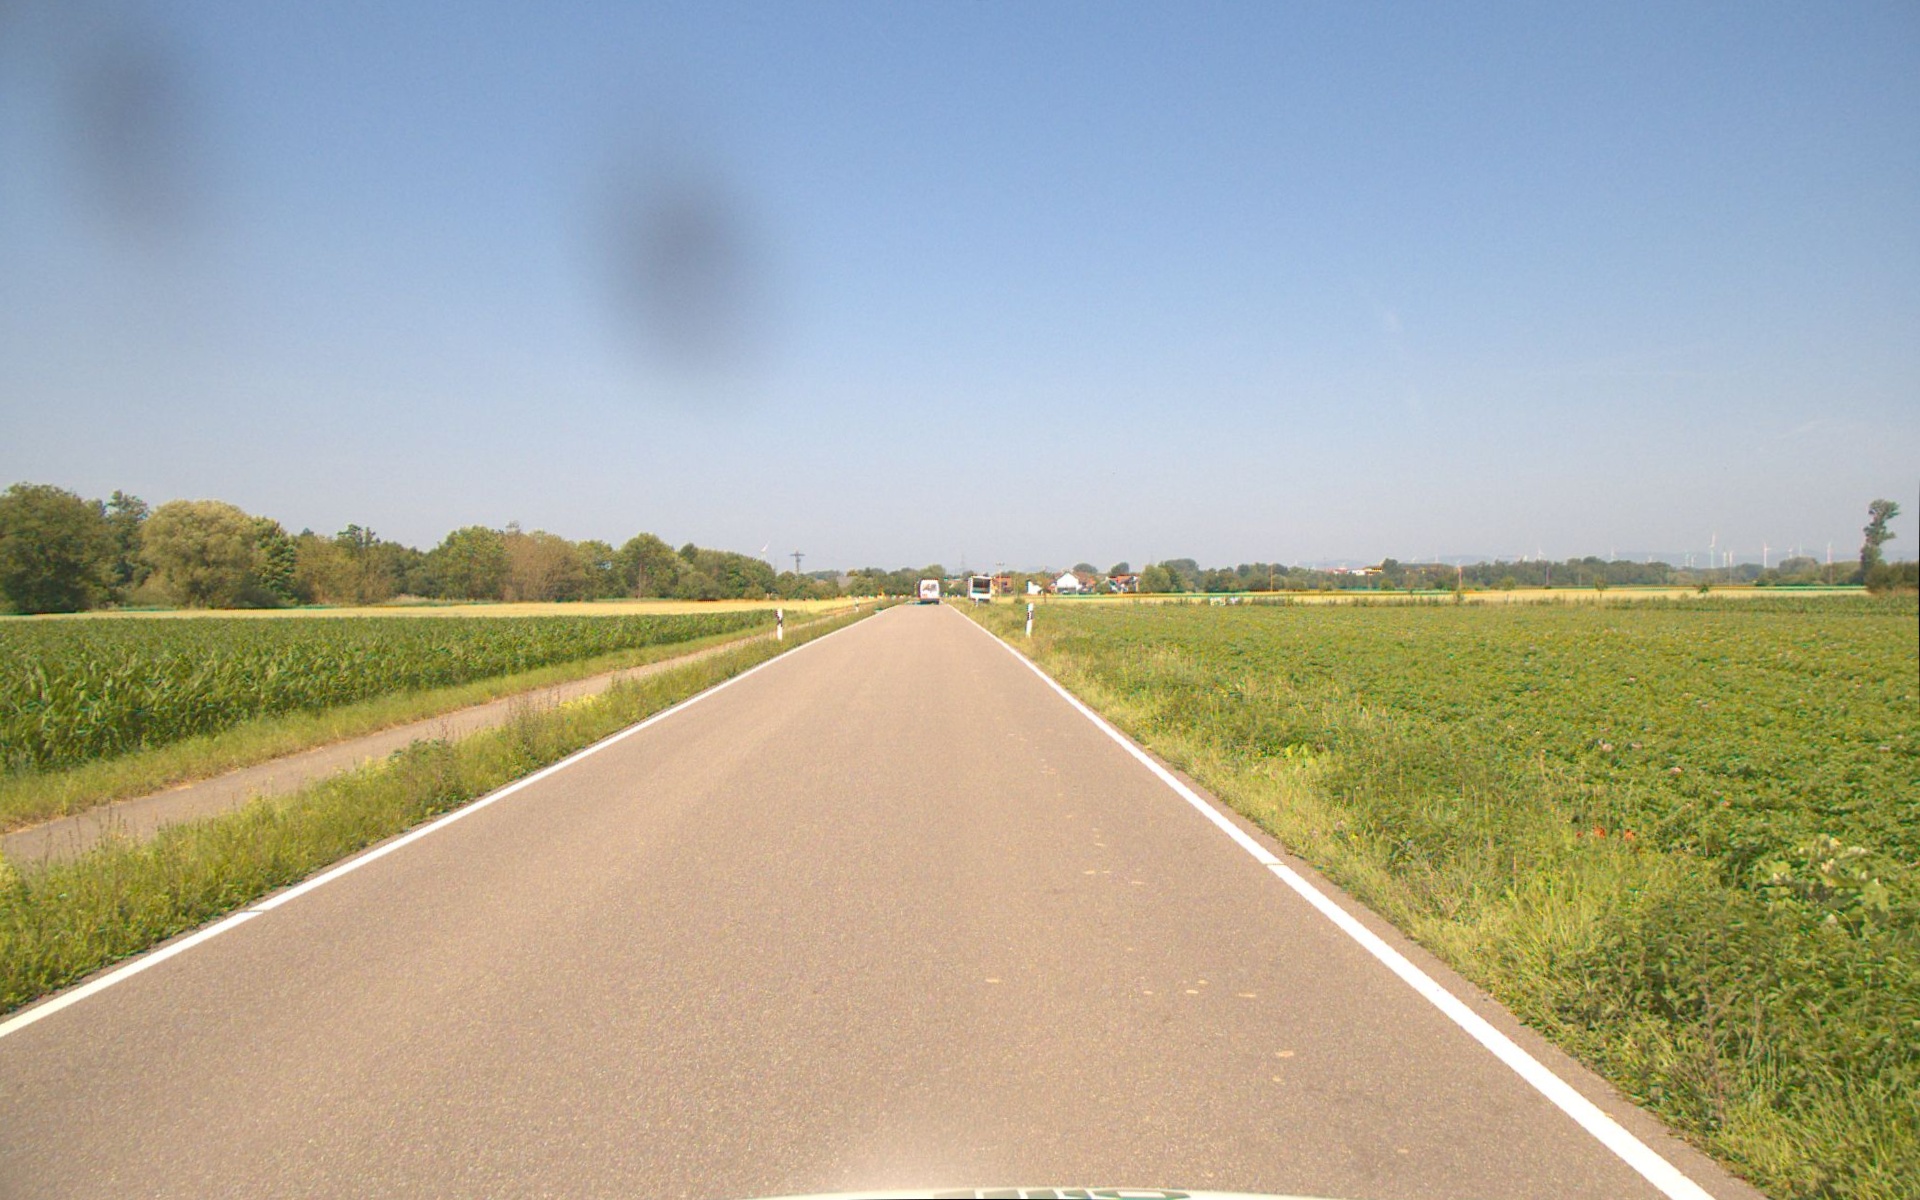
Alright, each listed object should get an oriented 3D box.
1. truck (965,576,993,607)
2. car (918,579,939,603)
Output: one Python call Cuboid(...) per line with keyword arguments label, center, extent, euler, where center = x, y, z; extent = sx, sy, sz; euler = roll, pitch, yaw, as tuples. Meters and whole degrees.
Cuboid(label="truck", center=(1.900, -0.817, 167.540), extent=(2.289, 2.994, 7.004), euler=(2, 0, -3))
Cuboid(label="car", center=(-3.267, -0.924, 171.095), extent=(2.064, 2.344, 5.494), euler=(1, 0, -1))
